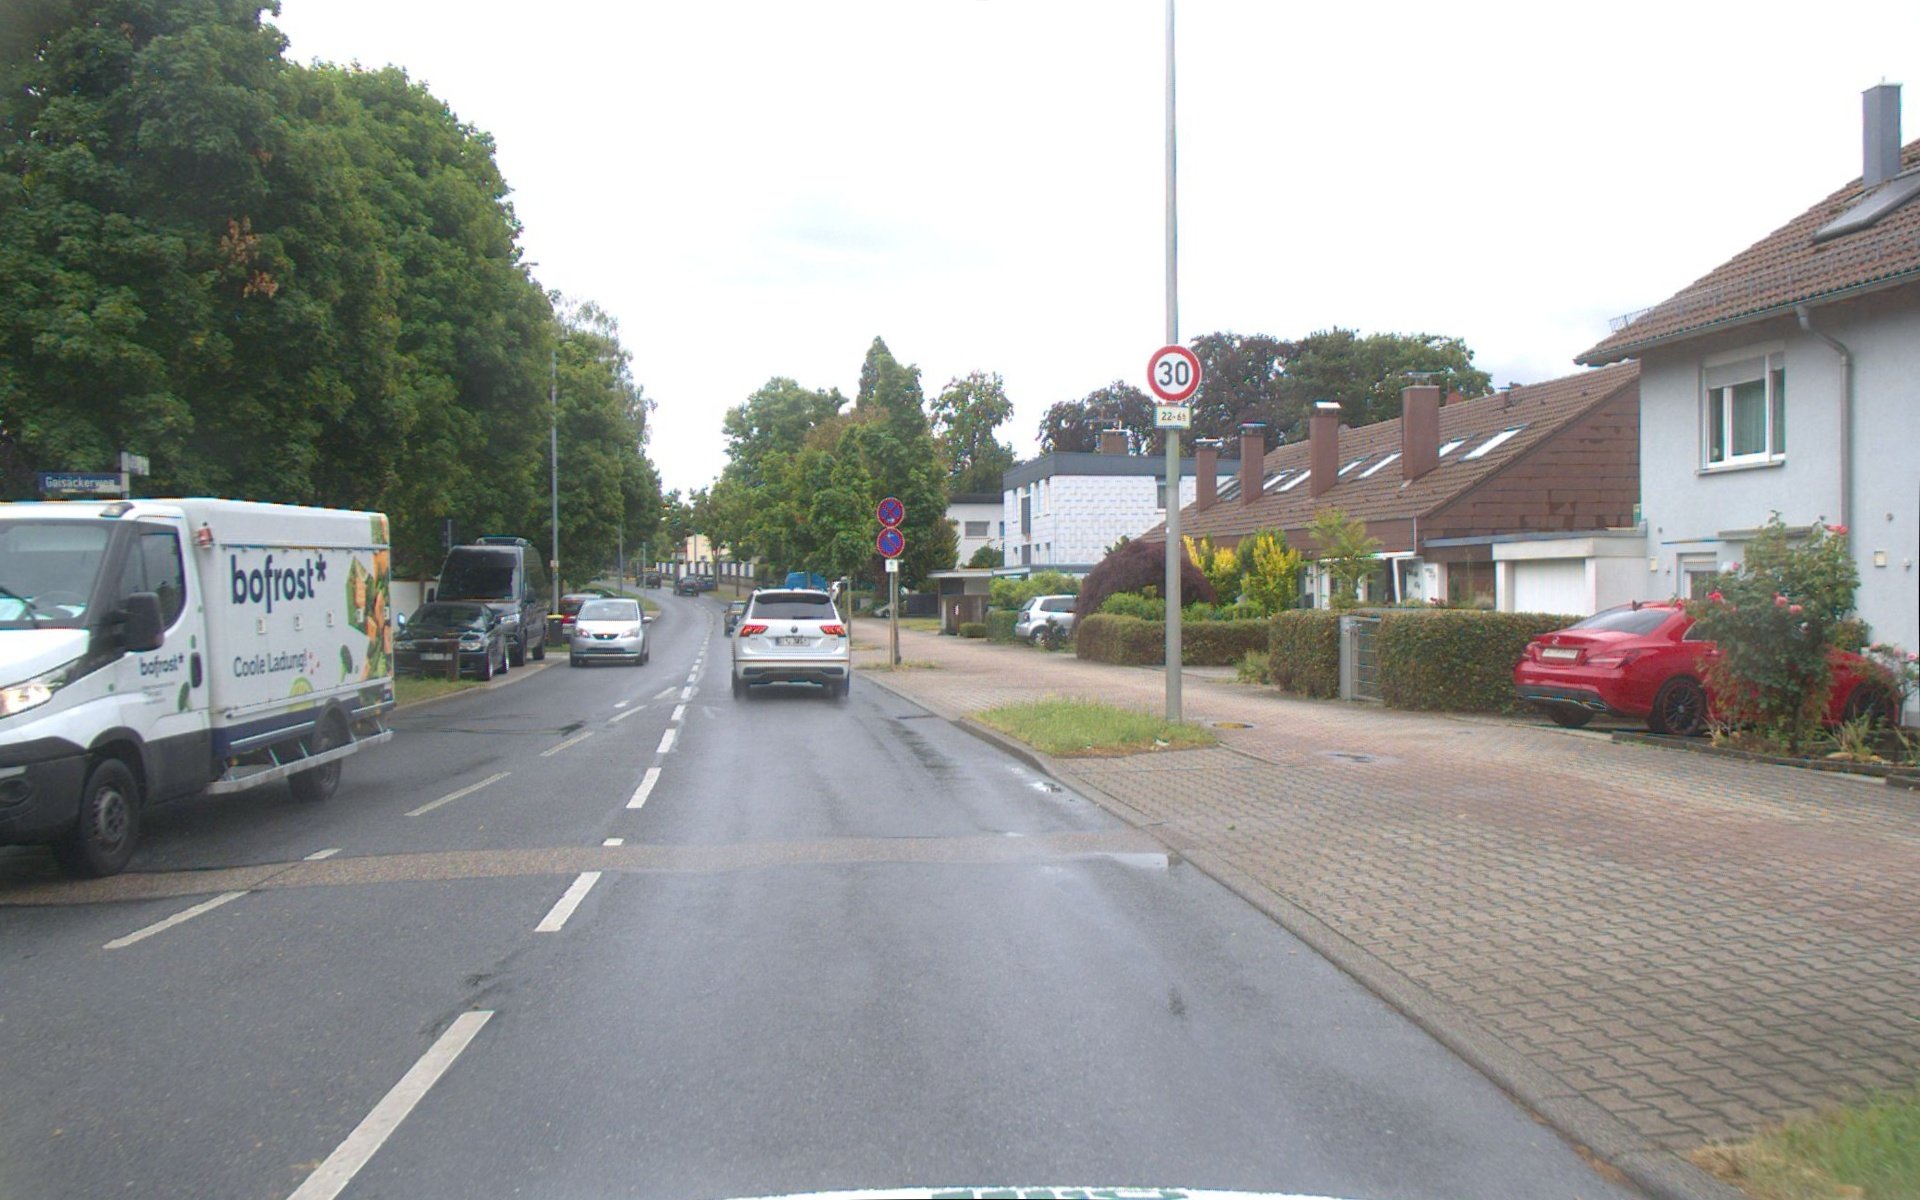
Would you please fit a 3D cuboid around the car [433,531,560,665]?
[{"bbox_3d":[-10.328,-0.070,37.288,1.956,2.776,5.927,1,0,-8],"label":"car"}]

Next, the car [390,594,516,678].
[{"bbox_3d":[-9.245,0.605,30.398,1.691,1.433,3.817,0,0,-9],"label":"car"}]

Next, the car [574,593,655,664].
[{"bbox_3d":[-7.803,0.610,37.586,1.564,1.489,3.446,-1,0,-8],"label":"car"}]

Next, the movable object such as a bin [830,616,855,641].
[{"bbox_3d":[-4.087,0.979,57.707,0.645,0.814,0.601,-4,0,16],"label":"movable object such as a bin"}]

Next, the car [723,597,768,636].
[{"bbox_3d":[-9.050,0.657,69.596,1.737,1.578,3.991,-1,0,-10],"label":"car"}]

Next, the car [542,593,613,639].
[{"bbox_3d":[-12.592,0.488,54.641,1.957,1.428,4.547,0,1,-9],"label":"car"}]

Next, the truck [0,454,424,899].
[{"bbox_3d":[-5.830,0.376,11.532,2.172,2.242,6.462,0,0,-1],"label":"truck"}]

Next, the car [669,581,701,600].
[{"bbox_3d":[-23.256,-0.805,139.723,1.622,1.452,3.968,0,2,-25],"label":"car"}]

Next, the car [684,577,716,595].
[{"bbox_3d":[-23.097,-1.277,146.732,1.623,1.452,3.964,0,2,-28],"label":"car"}]

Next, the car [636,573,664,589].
[{"bbox_3d":[-29.120,-1.803,155.431,1.622,1.452,3.968,0,2,-25],"label":"car"}]

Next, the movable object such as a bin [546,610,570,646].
[{"bbox_3d":[-11.203,0.780,46.108,0.547,0.970,0.549,0,0,-5],"label":"movable object such as a bin"}]

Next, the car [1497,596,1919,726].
[{"bbox_3d":[8.152,0.632,18.046,4.238,1.282,1.670,1,0,-19],"label":"car"}]

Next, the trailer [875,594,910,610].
[{"bbox_3d":[-4.017,0.112,97.935,2.003,0.899,1.363,1,0,-6],"label":"trailer"}]

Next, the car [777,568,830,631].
[{"bbox_3d":[-7.074,-0.048,74.295,1.957,2.631,5.622,-2,1,-9],"label":"car"}]

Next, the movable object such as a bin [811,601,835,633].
[{"bbox_3d":[-4.815,0.598,58.280,0.601,1.032,0.563,-5,-1,16],"label":"movable object such as a bin"}]

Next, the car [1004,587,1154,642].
[{"bbox_3d":[3.354,0.397,46.975,3.915,1.467,1.842,-1,0,-11],"label":"car"}]

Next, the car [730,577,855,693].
[{"bbox_3d":[-2.734,0.526,26.800,1.829,1.679,3.994,-1,0,-6],"label":"car"}]
